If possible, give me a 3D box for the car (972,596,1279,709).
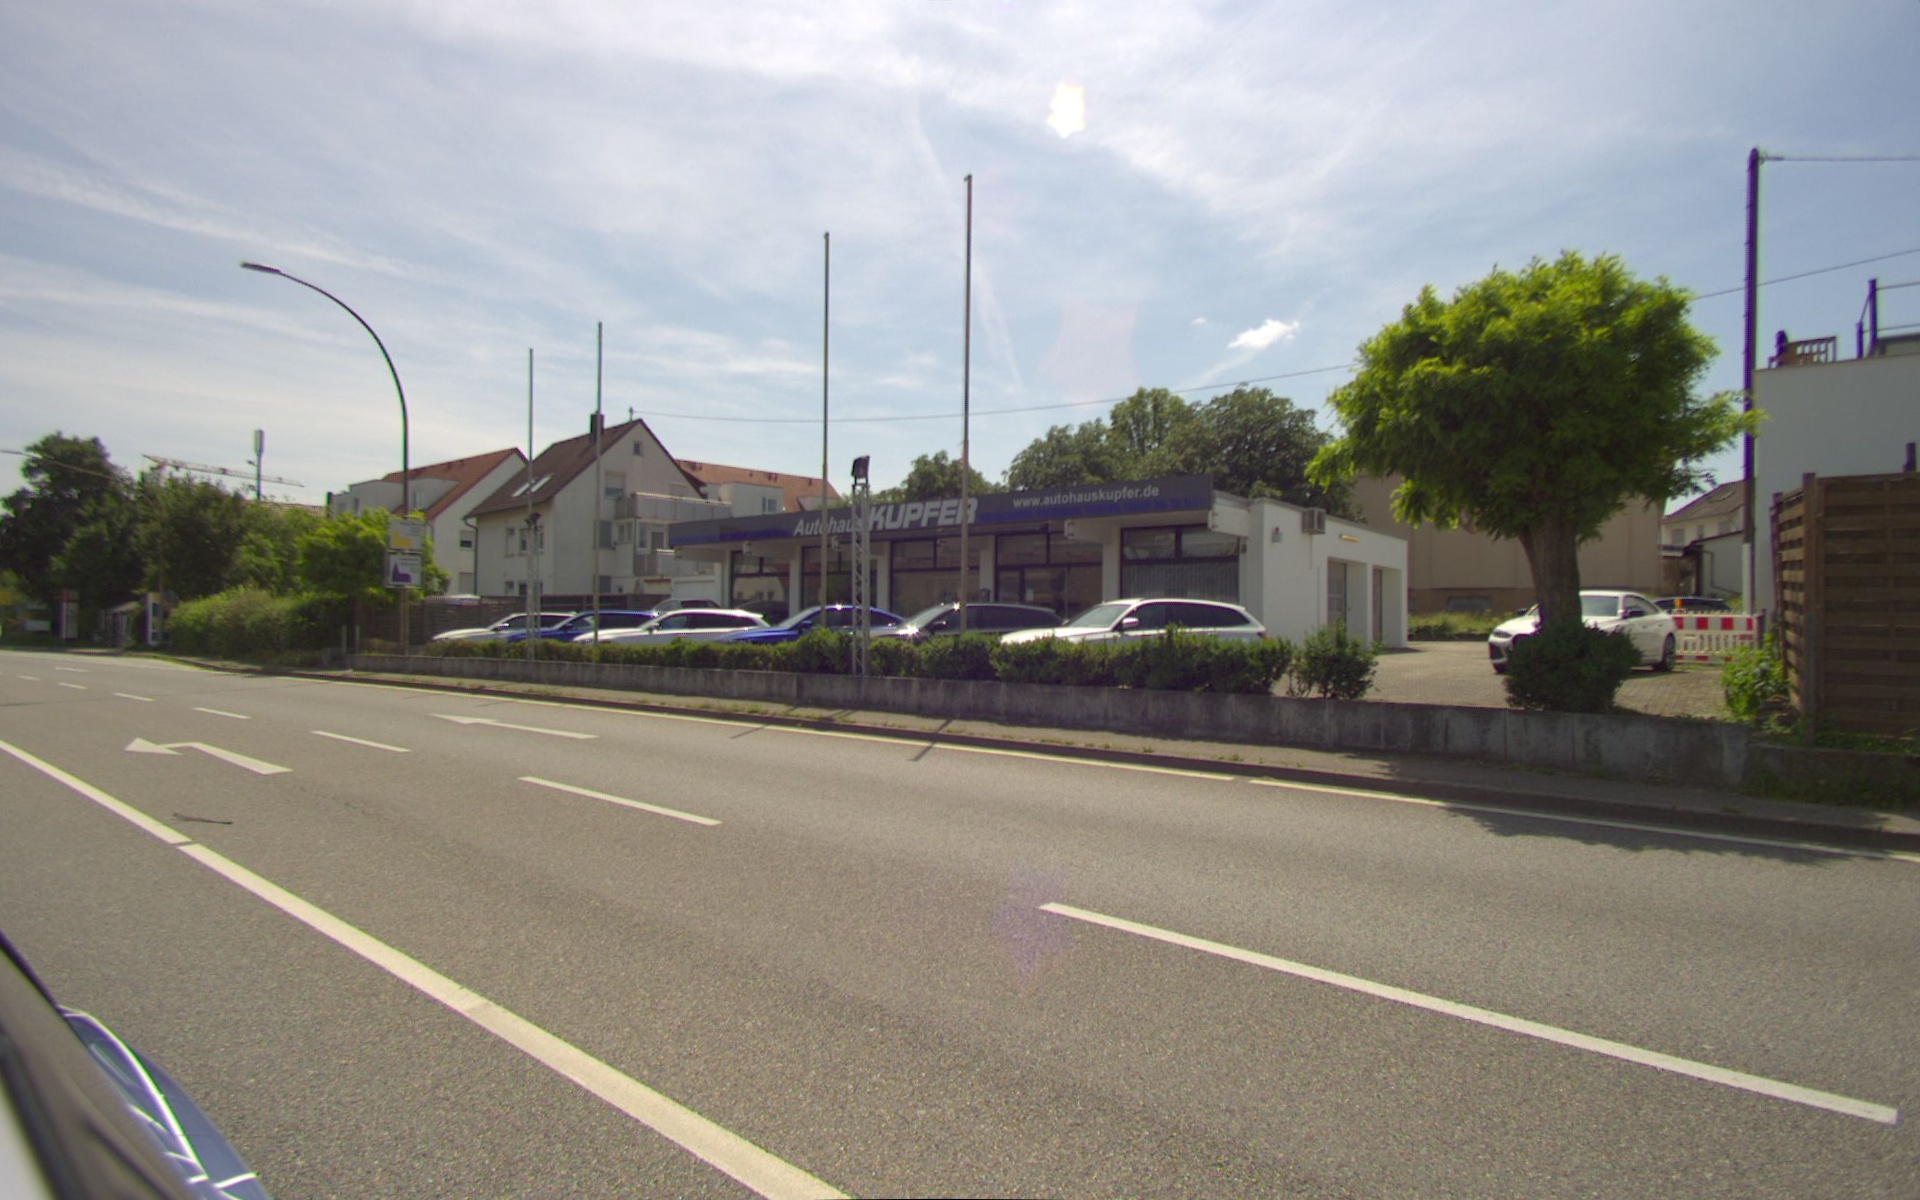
[{"bbox_3d":[2.511,0.710,15.334,4.264,1.471,1.861,-1,0,-25],"label":"car"}]

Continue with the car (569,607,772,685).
[{"bbox_3d":[-6.614,0.992,23.083,4.239,1.530,2.006,-1,0,-21],"label":"car"}]

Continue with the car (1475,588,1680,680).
[{"bbox_3d":[10.976,0.539,17.905,3.936,1.451,1.887,0,0,-39],"label":"car"}]

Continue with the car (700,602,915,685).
[{"bbox_3d":[-3.096,0.832,20.480,3.931,1.453,1.860,-1,0,-23],"label":"car"}]

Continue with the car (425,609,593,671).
[{"bbox_3d":[-12.683,1.079,28.688,4.192,1.541,2.007,-1,0,-22],"label":"car"}]

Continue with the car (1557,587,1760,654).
[{"bbox_3d":[17.592,0.498,25.589,3.935,1.529,1.948,-1,0,-10],"label":"car"}]

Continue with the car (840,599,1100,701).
[{"bbox_3d":[0.185,0.815,18.005,4.187,1.557,1.857,-1,0,-26],"label":"car"}]

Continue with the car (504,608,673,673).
[{"bbox_3d":[-9.563,0.993,26.114,3.931,1.475,2.007,-1,0,-22],"label":"car"}]
